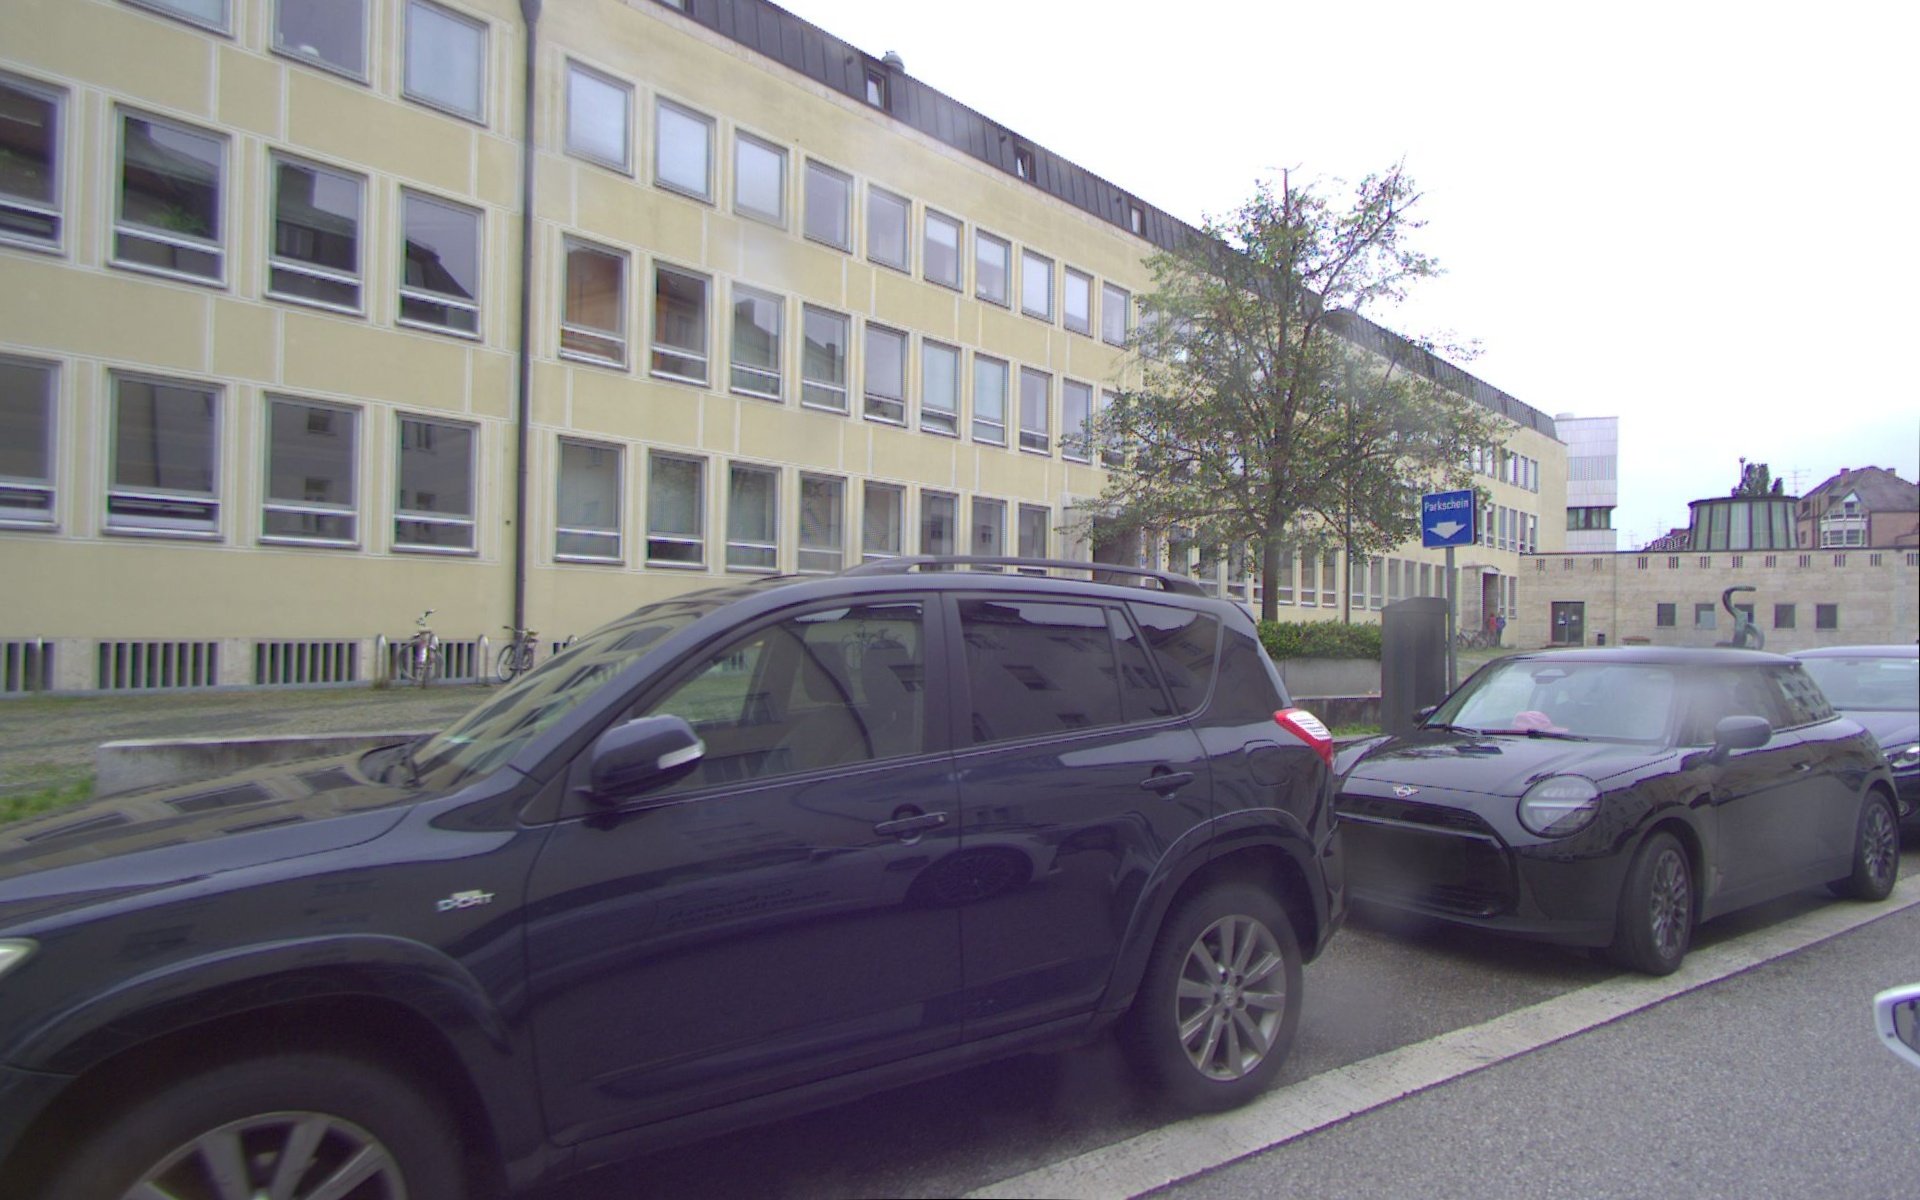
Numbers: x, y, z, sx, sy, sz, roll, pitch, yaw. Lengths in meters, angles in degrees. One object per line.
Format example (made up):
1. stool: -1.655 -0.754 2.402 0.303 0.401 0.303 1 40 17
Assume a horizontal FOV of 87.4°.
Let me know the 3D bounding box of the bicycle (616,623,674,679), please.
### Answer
1. bicycle: -5.912 0.942 18.804 1.512 0.967 0.364 1 0 45

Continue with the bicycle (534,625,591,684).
1. bicycle: -7.078 0.951 17.860 1.512 0.967 0.364 1 0 45

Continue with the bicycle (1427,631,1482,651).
1. bicycle: 22.924 1.897 46.550 2.181 0.846 0.703 0 -2 42

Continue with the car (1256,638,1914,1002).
1. car: 3.603 0.952 5.658 3.755 1.430 1.616 2 -3 -31

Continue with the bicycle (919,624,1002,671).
1. bicycle: -0.012 1.108 23.659 2.181 1.051 0.492 0 -2 42

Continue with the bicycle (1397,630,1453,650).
1. bicycle: 20.887 1.788 45.126 2.181 0.846 0.703 0 -2 42

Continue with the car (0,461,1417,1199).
1. car: -0.547 0.701 3.204 3.982 1.713 1.693 1 -3 -31

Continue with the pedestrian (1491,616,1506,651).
1. pedestrian: 28.050 1.752 52.310 0.590 1.759 0.663 3 1 29

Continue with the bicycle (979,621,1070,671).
1. bicycle: 1.643 1.160 25.958 1.040 1.184 2.223 1 -1 -45

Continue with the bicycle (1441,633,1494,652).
1. bicycle: 24.082 2.025 47.677 2.181 0.846 0.492 0 -2 42

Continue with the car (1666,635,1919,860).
1. car: 7.783 1.074 8.528 3.940 1.528 1.614 2 -2 -34

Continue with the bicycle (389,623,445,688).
1. bicycle: -8.772 0.878 16.210 1.512 0.967 0.364 1 0 45

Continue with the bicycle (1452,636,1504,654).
1. bicycle: 25.012 2.162 48.494 2.181 0.846 0.492 0 -2 42

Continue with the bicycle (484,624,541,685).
1. bicycle: -7.712 0.921 17.283 1.512 0.967 0.364 1 0 45

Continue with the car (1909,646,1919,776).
1. car: 12.648 1.262 11.592 3.940 1.438 1.614 2 -3 -34

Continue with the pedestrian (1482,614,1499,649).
1. pedestrian: 27.257 1.594 51.617 0.659 1.759 0.642 3 1 24

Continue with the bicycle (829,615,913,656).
1. bicycle: -2.001 0.773 22.282 2.181 0.846 0.492 0 -2 42
